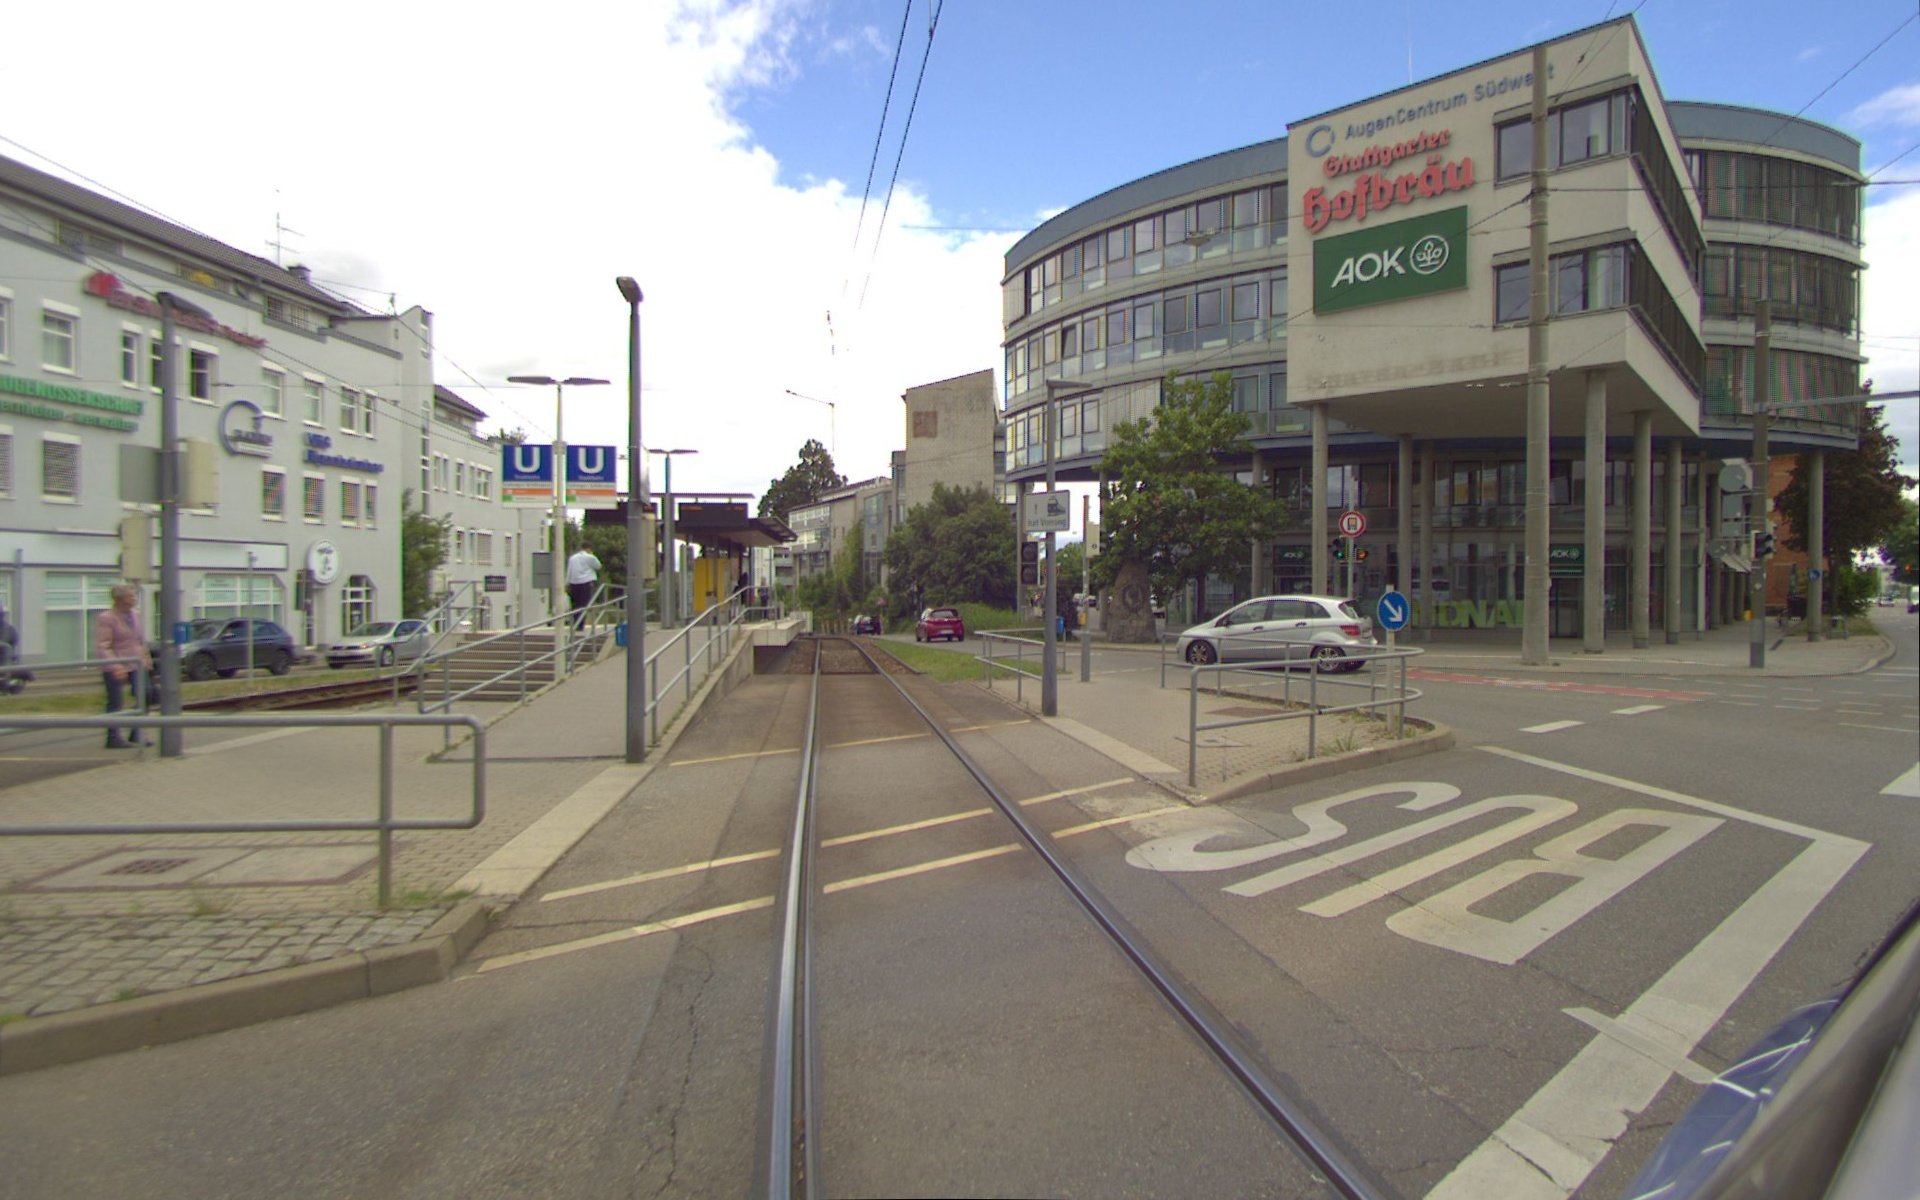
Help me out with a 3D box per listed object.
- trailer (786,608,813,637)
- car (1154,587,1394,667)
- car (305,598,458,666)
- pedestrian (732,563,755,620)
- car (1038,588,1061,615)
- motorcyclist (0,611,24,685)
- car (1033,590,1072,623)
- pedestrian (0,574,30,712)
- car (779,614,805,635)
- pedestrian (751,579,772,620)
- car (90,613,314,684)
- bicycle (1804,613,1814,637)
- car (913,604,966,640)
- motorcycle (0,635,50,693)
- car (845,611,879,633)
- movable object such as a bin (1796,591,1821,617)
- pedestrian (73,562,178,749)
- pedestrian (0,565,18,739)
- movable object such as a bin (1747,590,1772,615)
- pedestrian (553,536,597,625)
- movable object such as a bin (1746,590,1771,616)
[{"bbox_3d":[-15.439,2.142,97.409,1.844,2.646,4.331,-1,0,-18],"label":"trailer"},{"bbox_3d":[6.730,0.590,21.901,4.545,1.566,1.973,-2,-1,38],"label":"car"},{"bbox_3d":[-18.333,0.935,32.376,1.954,1.943,4.780,-1,0,3],"label":"car"},{"bbox_3d":[-6.684,-0.258,31.214,0.676,1.740,0.790,0,-2,-11],"label":"pedestrian"},{"bbox_3d":[9.730,0.099,109.866,2.126,2.866,6.105,0,0,2],"label":"car"},{"bbox_3d":[-18.893,0.936,19.671,0.750,1.412,0.692,-1,0,3],"label":"motorcyclist"},{"bbox_3d":[6.866,0.449,75.778,2.124,2.422,6.110,0,0,-2],"label":"car"},{"bbox_3d":[-12.506,0.543,12.850,0.774,1.740,0.649,-1,-2,0],"label":"pedestrian"},{"bbox_3d":[-16.896,2.396,101.829,1.844,1.970,4.916,-1,0,-18],"label":"car"},{"bbox_3d":[-8.524,-0.017,43.457,0.772,1.740,0.691,0,-2,-20],"label":"pedestrian"},{"bbox_3d":[-18.970,1.148,25.675,1.954,1.489,4.780,-1,0,3],"label":"car"},{"bbox_3d":[41.998,1.221,50.049,0.360,1.100,1.998,-1,0,40],"label":"bicycle"},{"bbox_3d":[-0.953,0.974,44.651,1.668,1.471,4.006,-1,-1,-11],"label":"car"},{"bbox_3d":[-18.891,1.268,19.572,0.749,1.087,1.979,-1,0,3],"label":"motorcycle"},{"bbox_3d":[-6.883,1.528,70.659,1.703,1.428,4.008,1,0,-15],"label":"car"},{"bbox_3d":[51.751,0.225,61.753,1.126,1.484,1.392,2,2,40],"label":"movable object such as a bin"},{"bbox_3d":[-8.128,0.520,9.885,0.636,1.740,0.790,0,-2,-29],"label":"pedestrian"},{"bbox_3d":[-9.861,0.518,9.945,0.636,1.740,0.706,0,0,-17],"label":"pedestrian"},{"bbox_3d":[49.065,0.166,62.114,1.121,1.484,1.313,2,2,41],"label":"movable object such as a bin"},{"bbox_3d":[-7.670,-0.378,20.165,0.690,1.740,0.651,0,0,-8],"label":"pedestrian"},{"bbox_3d":[48.207,0.183,61.082,1.097,1.484,1.313,2,2,41],"label":"movable object such as a bin"}]
